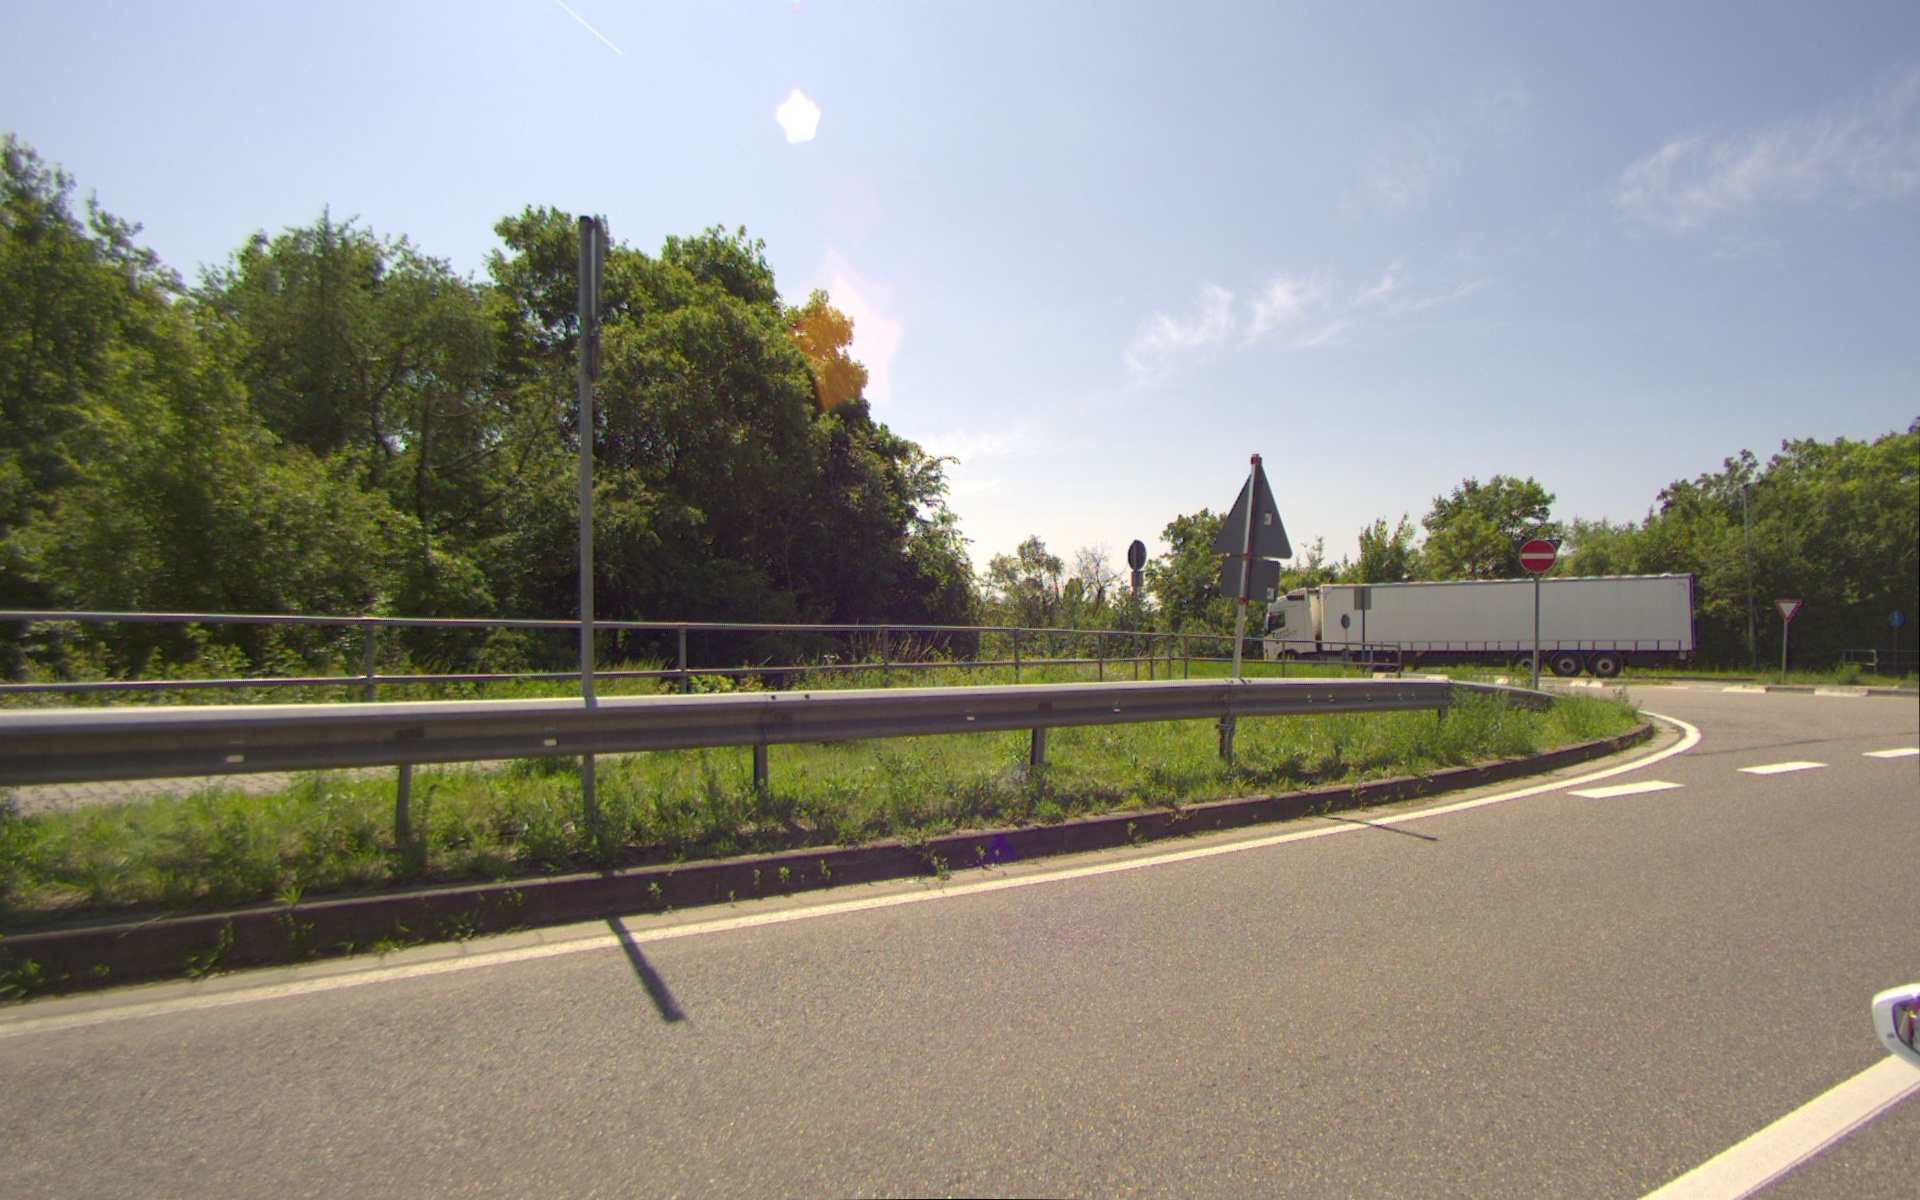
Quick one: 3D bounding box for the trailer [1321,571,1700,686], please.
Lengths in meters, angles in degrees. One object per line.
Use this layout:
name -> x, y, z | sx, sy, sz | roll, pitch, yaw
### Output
trailer -> 22.592, 1.225, 42.425 | 13.541, 4.332, 2.994 | -1, -1, 29

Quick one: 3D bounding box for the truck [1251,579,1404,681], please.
truck -> 16.735, 1.355, 45.911 | 5.843, 4.332, 2.983 | -2, -1, 42
